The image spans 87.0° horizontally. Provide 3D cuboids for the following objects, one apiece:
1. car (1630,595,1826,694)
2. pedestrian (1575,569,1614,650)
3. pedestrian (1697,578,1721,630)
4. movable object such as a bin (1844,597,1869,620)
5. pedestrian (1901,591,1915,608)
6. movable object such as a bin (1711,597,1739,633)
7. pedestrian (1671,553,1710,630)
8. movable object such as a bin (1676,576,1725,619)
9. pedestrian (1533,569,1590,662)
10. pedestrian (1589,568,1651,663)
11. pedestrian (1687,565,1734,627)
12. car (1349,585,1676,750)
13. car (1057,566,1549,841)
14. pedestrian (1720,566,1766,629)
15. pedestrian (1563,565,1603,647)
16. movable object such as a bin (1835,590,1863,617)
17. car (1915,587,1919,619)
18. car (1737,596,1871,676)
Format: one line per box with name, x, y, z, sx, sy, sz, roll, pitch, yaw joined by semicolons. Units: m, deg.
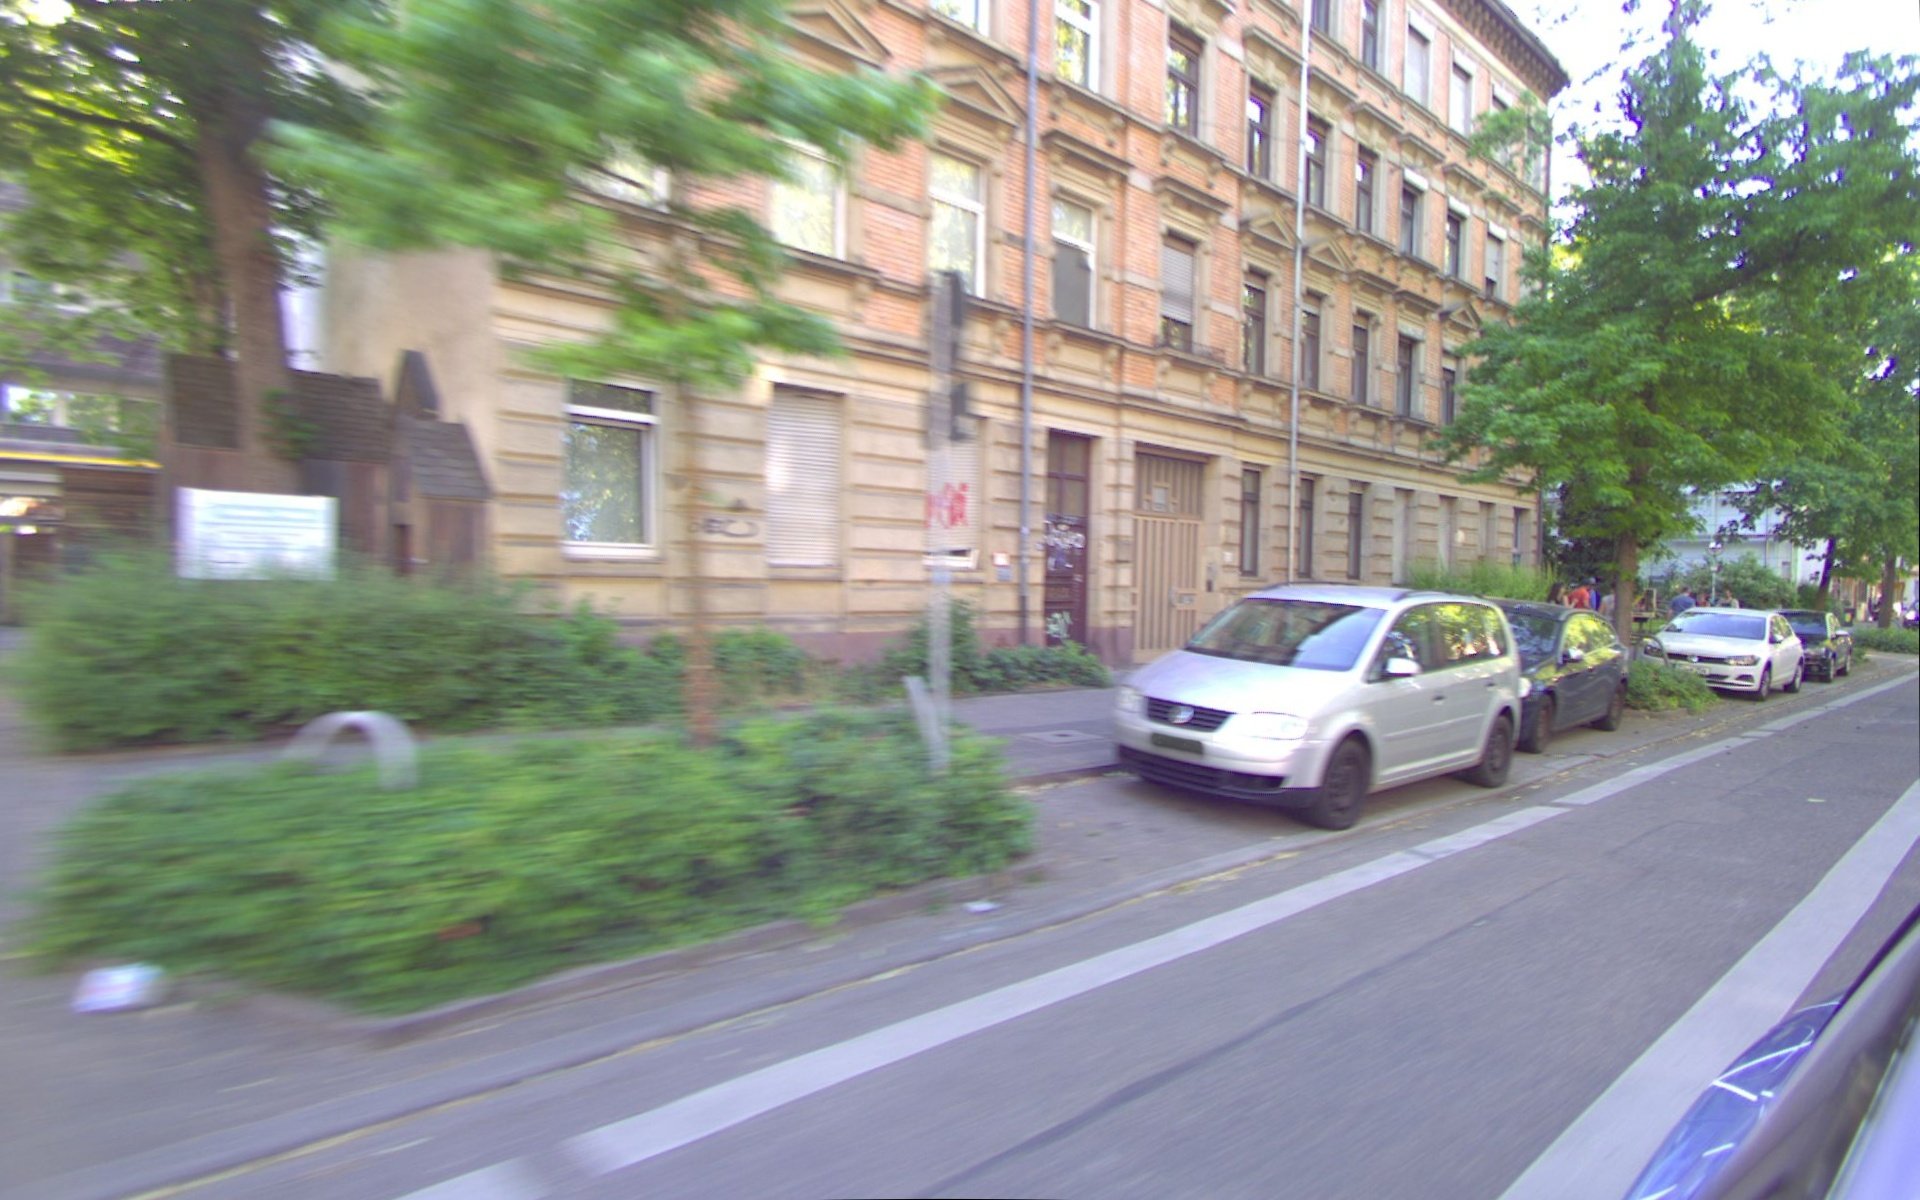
car;13.469;0.672;17.665;4.035;1.384;1.888;0;4;-41
pedestrian;14.569;0.200;23.251;0.716;1.815;0.599;0;0;-43
pedestrian;25.527;0.142;34.492;0.615;1.747;0.547;0;0;34
movable object such as a bin;47.666;0.442;53.796;0.685;1.124;0.882;0;3;-43
pedestrian;68.331;-0.065;72.981;0.677;1.220;0.640;0;0;39
movable object such as a bin;25.590;0.492;33.852;0.665;1.140;0.942;1;1;42
pedestrian;17.444;-0.206;24.160;0.724;1.815;0.592;0;0;38
movable object such as a bin;21.773;-0.069;29.744;1.279;1.217;0.642;1;3;-30
pedestrian;11.595;0.283;19.510;0.841;1.731;0.727;0;0;-41
pedestrian;12.282;0.275;18.826;0.940;1.714;0.727;0;0;-40
pedestrian;22.567;-0.120;30.425;0.948;1.815;0.729;1;2;-30
car;6.645;0.627;11.948;4.514;1.484;1.888;0;4;-41
car;2.937;0.593;8.216;4.168;1.587;1.888;0;4;-41
pedestrian;23.164;-0.067;29.946;0.836;1.815;0.729;1;2;-30
pedestrian;13.972;0.121;22.699;0.716;1.815;0.599;0;0;-44
movable object such as a bin;48.928;0.162;55.699;0.811;1.414;1.001;0;3;-43
car;50.653;0.206;51.937;4.362;1.641;1.767;1;3;-40
car;18.208;0.706;21.784;3.777;1.429;1.676;-1;4;-43
